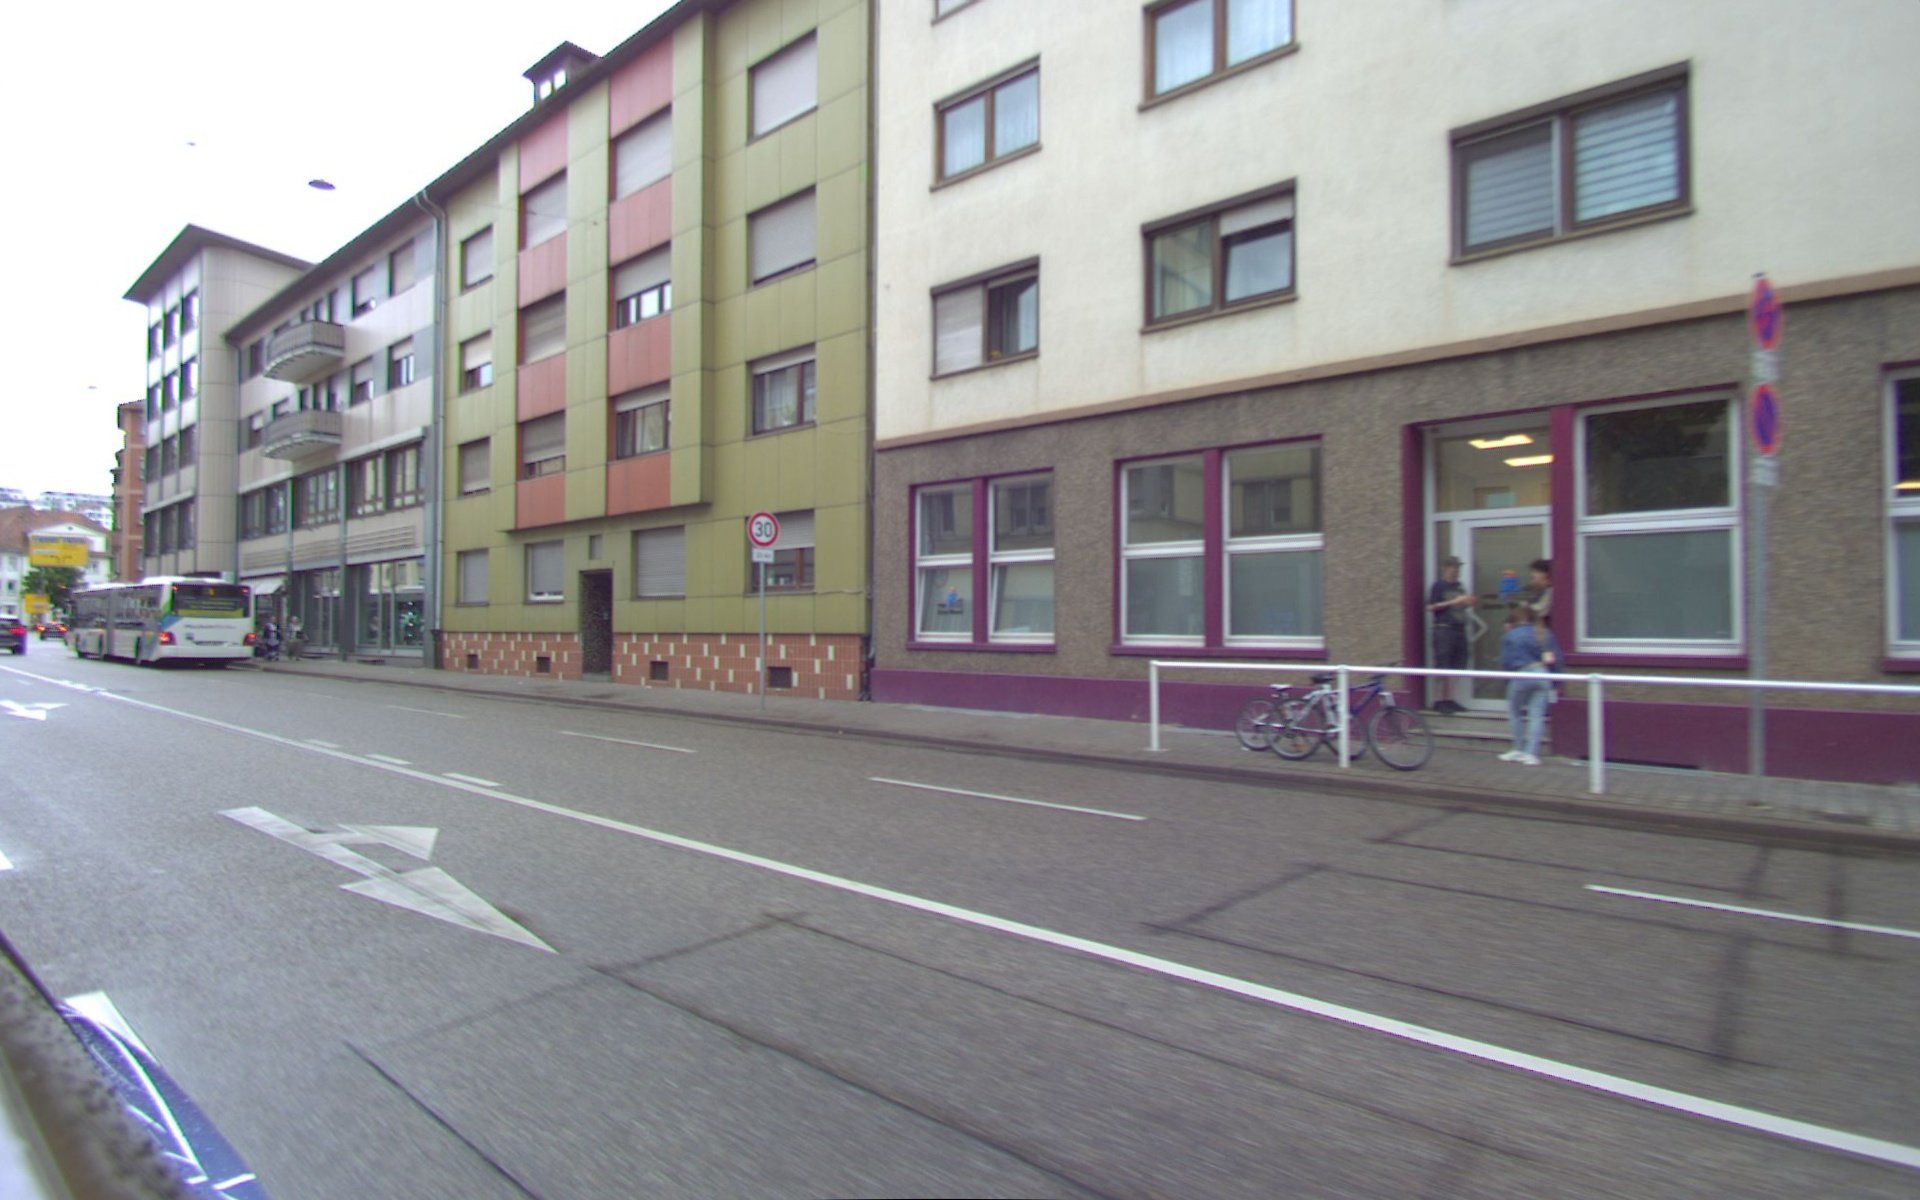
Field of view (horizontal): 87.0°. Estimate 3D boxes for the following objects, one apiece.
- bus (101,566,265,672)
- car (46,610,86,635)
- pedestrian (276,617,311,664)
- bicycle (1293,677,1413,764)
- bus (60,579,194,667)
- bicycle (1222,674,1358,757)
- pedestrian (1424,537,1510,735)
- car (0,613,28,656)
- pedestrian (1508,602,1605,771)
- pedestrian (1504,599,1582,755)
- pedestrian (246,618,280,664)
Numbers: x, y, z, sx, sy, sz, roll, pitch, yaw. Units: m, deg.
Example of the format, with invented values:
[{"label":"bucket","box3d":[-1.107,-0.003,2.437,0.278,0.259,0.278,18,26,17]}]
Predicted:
[{"label":"bus","box3d":[-26.975,0.662,34.916,9.289,3.213,2.697,-1,-2,41]},{"label":"car","box3d":[-91.649,2.326,103.672,6.347,2.454,2.065,-1,-2,40]},{"label":"pedestrian","box3d":[-23.450,1.401,35.597,0.711,1.627,0.828,-1,-2,41]},{"label":"bicycle","box3d":[3.969,1.205,10.263,1.110,0.789,0.261,-1,-2,42]},{"label":"bus","box3d":[-33.823,0.916,40.943,8.908,3.213,2.730,-1,-2,41]},{"label":"bicycle","box3d":[3.563,1.233,10.991,1.421,0.789,0.261,-1,-2,42]},{"label":"pedestrian","box3d":[5.674,0.391,11.329,0.729,2.115,0.705,-1,-2,38]},{"label":"car","box3d":[-41.339,1.429,43.028,4.569,1.770,1.911,-1,-2,40]},{"label":"pedestrian","box3d":[5.819,0.813,9.876,0.739,1.565,0.569,-1,-2,38]},{"label":"pedestrian","box3d":[6.260,0.802,10.860,0.588,1.589,0.765,-1,-2,41]},{"label":"pedestrian","box3d":[-24.075,1.417,34.942,0.711,1.546,0.791,-1,-2,41]}]
